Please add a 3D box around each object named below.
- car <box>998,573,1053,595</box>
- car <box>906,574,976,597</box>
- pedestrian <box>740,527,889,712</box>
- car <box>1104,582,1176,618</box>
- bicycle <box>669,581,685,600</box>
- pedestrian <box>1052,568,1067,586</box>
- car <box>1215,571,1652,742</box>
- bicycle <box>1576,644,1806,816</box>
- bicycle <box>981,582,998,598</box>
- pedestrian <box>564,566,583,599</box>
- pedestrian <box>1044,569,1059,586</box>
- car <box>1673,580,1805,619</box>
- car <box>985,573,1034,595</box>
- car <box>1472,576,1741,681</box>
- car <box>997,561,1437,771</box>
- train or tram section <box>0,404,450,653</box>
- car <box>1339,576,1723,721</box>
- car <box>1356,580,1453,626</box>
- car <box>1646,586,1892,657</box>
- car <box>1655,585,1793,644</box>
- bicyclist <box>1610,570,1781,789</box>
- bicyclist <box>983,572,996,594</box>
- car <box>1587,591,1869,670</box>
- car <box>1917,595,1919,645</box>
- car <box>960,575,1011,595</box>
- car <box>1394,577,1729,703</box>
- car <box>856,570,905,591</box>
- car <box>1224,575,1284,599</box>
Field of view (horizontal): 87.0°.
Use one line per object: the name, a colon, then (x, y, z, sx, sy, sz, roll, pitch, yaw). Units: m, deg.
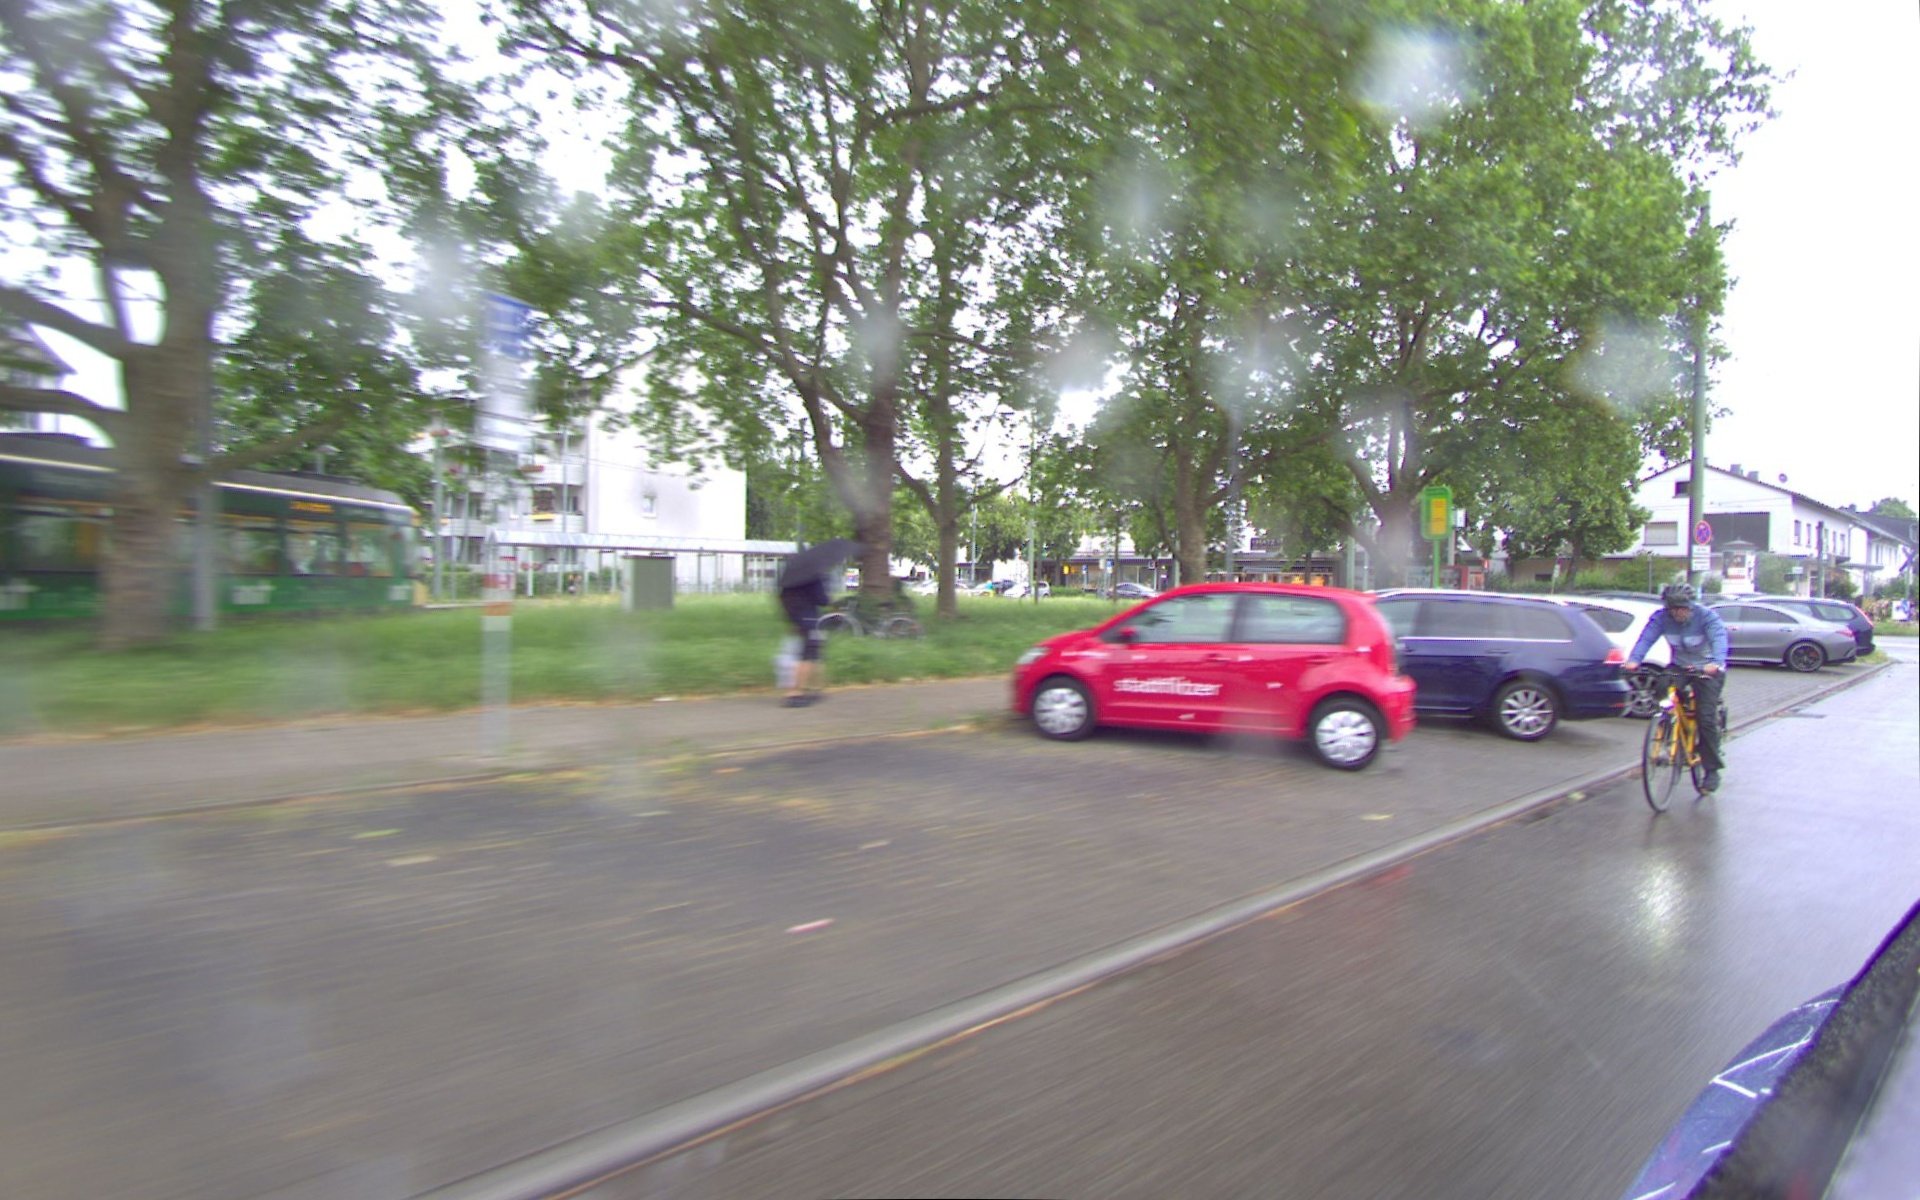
car: (5.288, -1.281, 80.875, 4.264, 1.694, 1.996, -2, 2, -42)
car: (-1.309, -1.001, 71.458, 4.755, 1.476, 1.998, 2, 0, -40)
pedestrian: (-1.477, 0.162, 10.242, 1.062, 1.735, 1.046, 0, 2, -42)
car: (11.012, -0.023, 62.059, 1.965, 2.038, 3.995, -3, 3, -40)
bicycle: (-14.763, -0.512, 52.842, 0.370, 0.959, 1.237, -2, 3, -37)
pedestrian: (9.580, -2.222, 97.101, 1.058, 1.735, 0.949, 1, 1, -30)
car: (4.999, 0.510, 11.324, 4.066, 1.498, 1.857, 3, 2, 17)
bicycle: (5.457, 0.892, 7.522, 1.889, 1.086, 0.755, 2, 0, -34)
bicycle: (2.116, -0.711, 72.293, 0.719, 1.144, 1.742, 0, 1, 20)
pedestrian: (-19.063, -0.861, 49.909, 0.625, 1.592, 0.788, -2, 3, -42)
pedestrian: (8.915, -2.193, 98.312, 1.058, 1.603, 0.949, 1, 2, -30)
car: (36.750, -0.065, 47.846, 1.962, 1.625, 4.574, -2, 3, -34)
car: (4.029, -1.349, 82.697, 3.881, 1.694, 1.790, -2, 2, -42)
car: (11.136, 0.440, 17.698, 3.463, 1.524, 1.749, 3, 3, 13)
car: (2.297, 0.470, 9.249, 3.558, 1.498, 1.626, 3, 2, 22)
train or tram section: (-15.035, -1.125, 18.772, 2.666, 3.634, 14.721, -1, 1, 5)
car: (7.346, 0.547, 13.480, 3.937, 1.572, 1.956, 2, 3, 11)
car: (22.080, 0.103, 50.384, 1.965, 2.038, 3.995, -3, 3, -40)
car: (18.972, 0.463, 23.969, 4.122, 1.494, 1.794, 1, 1, 18)
car: (30.529, 0.507, 40.545, 1.961, 2.038, 4.004, -3, 4, -31)
bicyclist: (5.443, 0.548, 7.502, 0.830, 1.504, 0.754, 2, 0, -33)
bicyclist: (2.119, -1.214, 72.318, 0.716, 1.535, 0.694, 0, 0, 20)
car: (16.511, 0.598, 22.045, 4.491, 1.494, 1.793, 1, 1, 19)
car: (27.813, 0.624, 27.045, 1.942, 1.572, 3.969, 3, 3, 24)
car: (2.187, -1.292, 84.903, 4.022, 1.590, 1.996, -2, 2, -42)
car: (9.124, 0.549, 15.693, 3.934, 1.518, 1.821, 4, 3, 8)
car: (-7.646, -1.878, 97.897, 4.472, 1.967, 1.895, -2, 2, -42)
car: (19.735, -0.884, 67.972, 3.595, 1.522, 1.535, 1, 3, 32)
